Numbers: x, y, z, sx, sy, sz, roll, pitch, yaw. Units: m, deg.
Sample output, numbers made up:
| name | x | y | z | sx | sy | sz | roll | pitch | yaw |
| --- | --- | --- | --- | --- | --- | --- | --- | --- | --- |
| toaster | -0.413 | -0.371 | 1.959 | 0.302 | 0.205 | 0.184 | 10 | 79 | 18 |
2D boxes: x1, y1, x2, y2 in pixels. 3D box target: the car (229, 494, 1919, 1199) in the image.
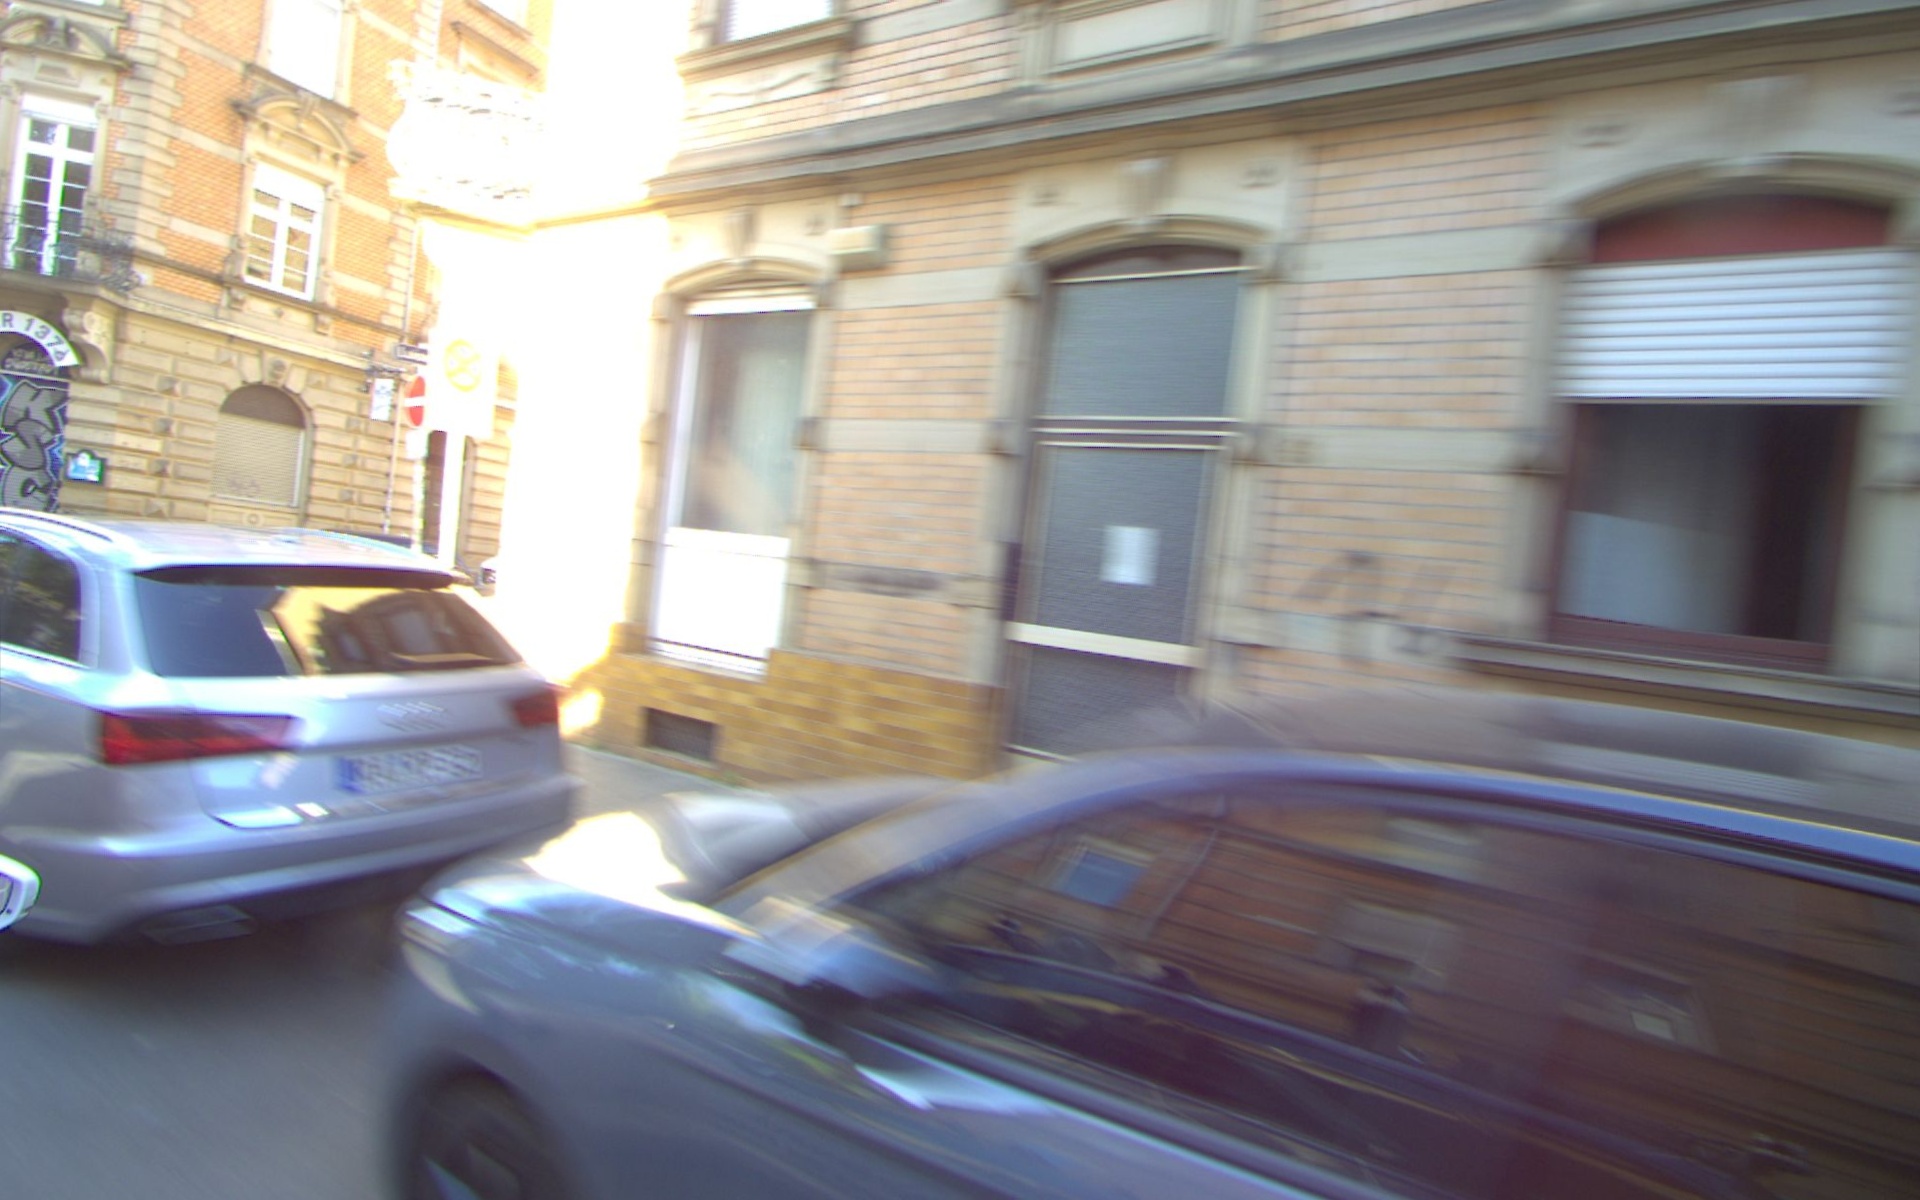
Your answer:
| name | x | y | z | sx | sy | sz | roll | pitch | yaw |
| --- | --- | --- | --- | --- | --- | --- | --- | --- | --- |
| car | 0.648 | 0.799 | 1.701 | 3.823 | 1.498 | 1.668 | 7 | 1 | 32 |

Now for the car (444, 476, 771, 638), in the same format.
| name | x | y | z | sx | sy | sz | roll | pitch | yaw |
| --- | --- | --- | --- | --- | --- | --- | --- | --- | --- |
| car | -7.404 | -0.747 | 22.183 | 2.032 | 2.684 | 6.816 | 10 | 2 | 31 |

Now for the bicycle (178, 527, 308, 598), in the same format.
| name | x | y | z | sx | sy | sz | roll | pitch | yaw |
| --- | --- | --- | --- | --- | --- | --- | --- | --- | --- |
| bicycle | -12.841 | -0.652 | 18.065 | 0.525 | 1.068 | 1.777 | 7 | 1 | 30 |

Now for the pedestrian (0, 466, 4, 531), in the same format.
| name | x | y | z | sx | sy | sz | roll | pitch | yaw |
| --- | --- | --- | --- | --- | --- | --- | --- | --- | --- |
| pedestrian | -15.156 | -1.216 | 15.378 | 0.658 | 1.756 | 0.569 | 4 | 3 | -39 |

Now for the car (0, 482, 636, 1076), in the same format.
| name | x | y | z | sx | sy | sz | roll | pitch | yaw |
| --- | --- | --- | --- | --- | --- | --- | --- | --- | --- |
| car | -3.681 | 0.321 | 4.433 | 4.436 | 1.476 | 1.709 | 7 | -1 | 32 |

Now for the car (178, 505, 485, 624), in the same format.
| name | x | y | z | sx | sy | sz | roll | pitch | yaw |
| --- | --- | --- | --- | --- | --- | --- | --- | --- | --- |
| car | -10.433 | -0.528 | 16.995 | 1.705 | 1.470 | 3.984 | 8 | 1 | 32 |

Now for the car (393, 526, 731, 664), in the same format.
| name | x | y | z | sx | sy | sz | roll | pitch | yaw |
| --- | --- | --- | --- | --- | --- | --- | --- | --- | --- |
| car | -5.302 | 0.011 | 14.038 | 1.737 | 1.489 | 4.250 | 7 | 0 | 25 |
